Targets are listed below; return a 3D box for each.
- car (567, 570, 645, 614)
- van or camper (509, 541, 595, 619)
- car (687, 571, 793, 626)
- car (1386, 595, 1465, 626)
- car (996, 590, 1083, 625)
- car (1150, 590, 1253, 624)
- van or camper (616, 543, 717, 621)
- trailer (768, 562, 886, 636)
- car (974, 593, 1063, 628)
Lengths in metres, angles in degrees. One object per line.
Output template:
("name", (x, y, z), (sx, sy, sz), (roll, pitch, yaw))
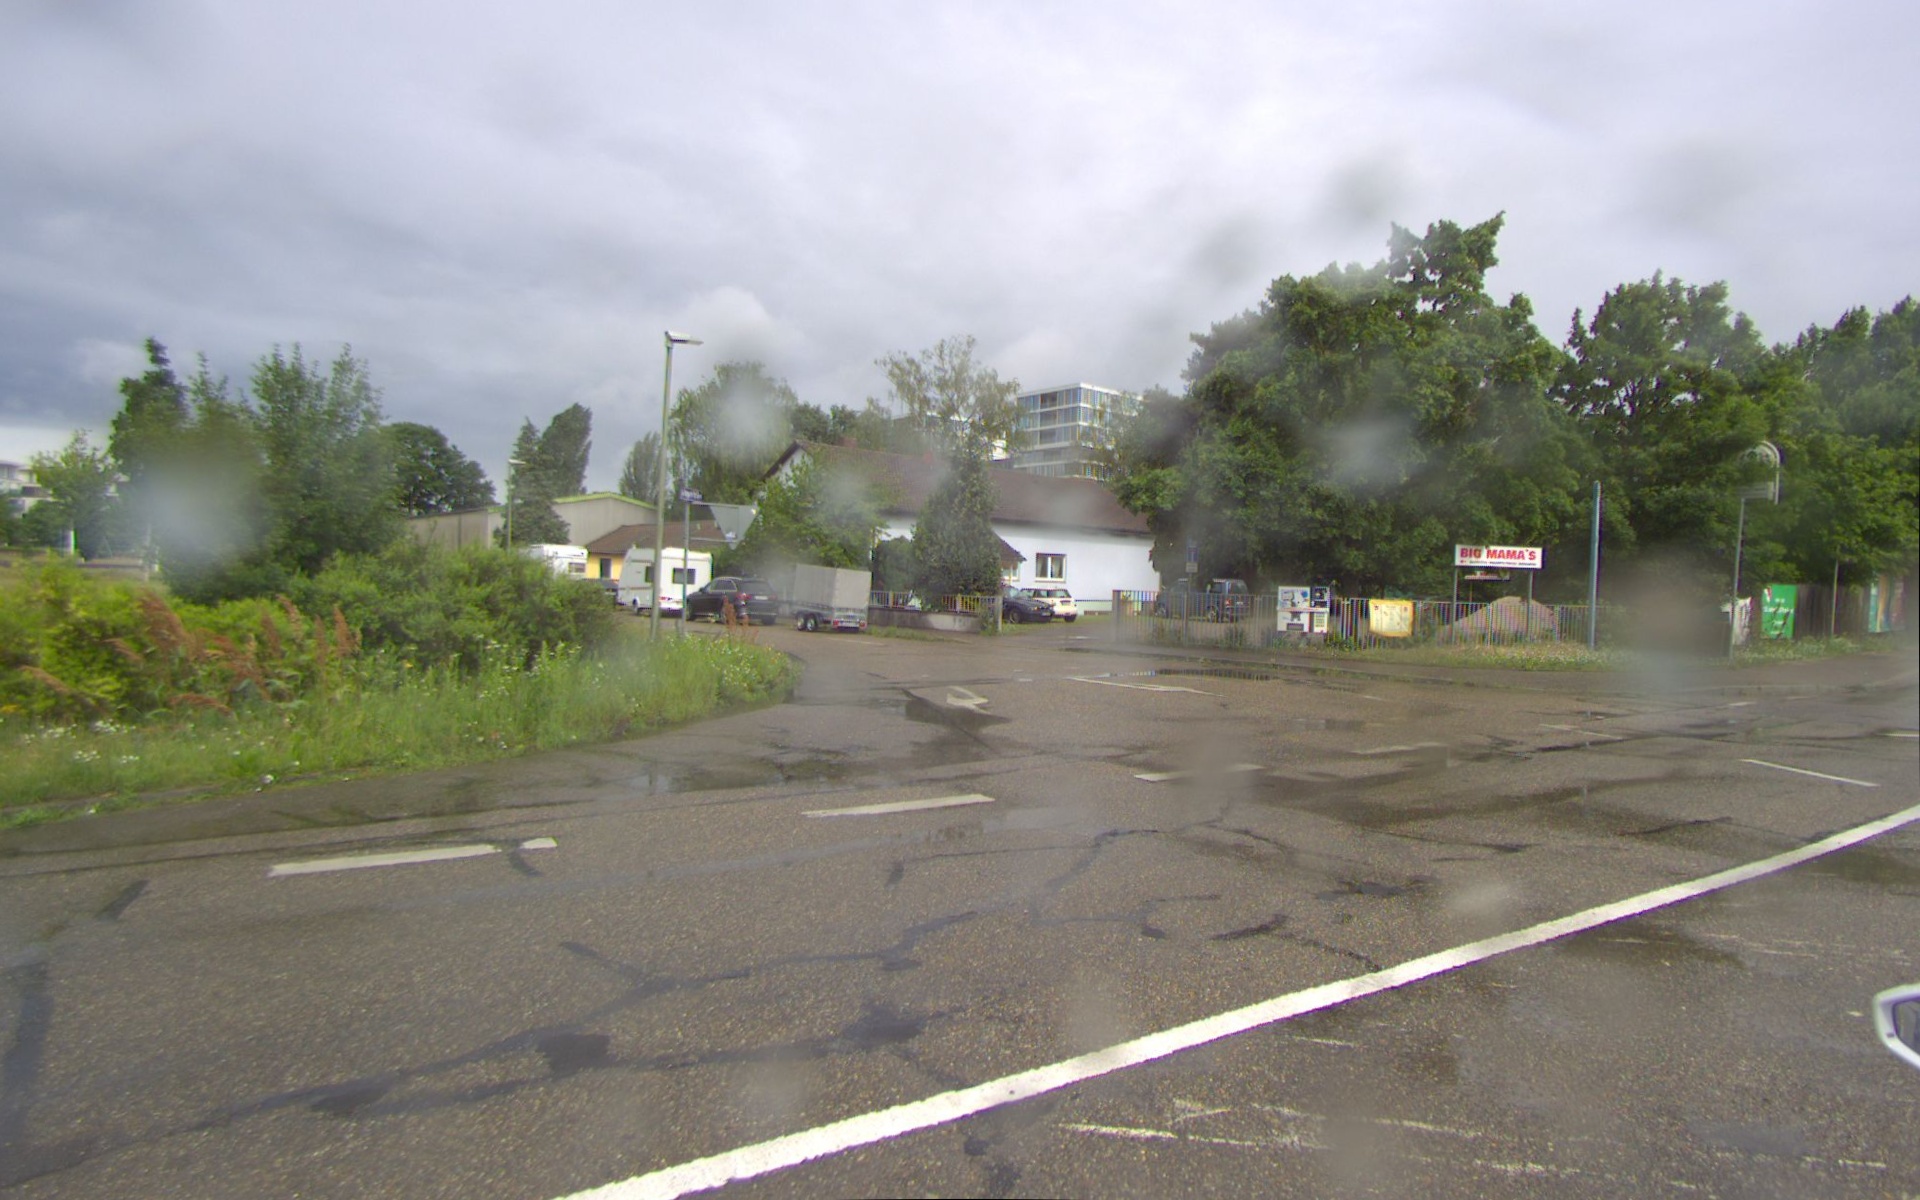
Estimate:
("car", (-15.933, -0.385, 45.066), (1.982, 1.799, 4.469), (1, 1, -38))
("van or camper", (-21.148, -1.040, 51.901), (2.631, 3.794, 5.787), (1, 1, -38))
("car", (-7.931, -0.073, 35.894), (1.982, 1.799, 4.469), (1, 1, -38))
("car", (23.199, 0.550, 49.974), (4.510, 1.437, 1.975), (1, 1, -42))
("car", (3.233, 0.289, 41.626), (1.376, 1.333, 3.881), (1, 1, -37))
("car", (11.317, 0.304, 47.341), (1.982, 1.437, 4.494), (1, 1, -38))
("van or camper", (-12.014, -0.726, 40.989), (2.462, 2.985, 4.466), (1, 1, -38))
("trailer", (-4.377, -0.070, 32.638), (1.830, 2.117, 4.064), (1, 3, -40))
("car", (2.251, 0.407, 39.232), (1.650, 1.224, 3.347), (1, 1, -38))
